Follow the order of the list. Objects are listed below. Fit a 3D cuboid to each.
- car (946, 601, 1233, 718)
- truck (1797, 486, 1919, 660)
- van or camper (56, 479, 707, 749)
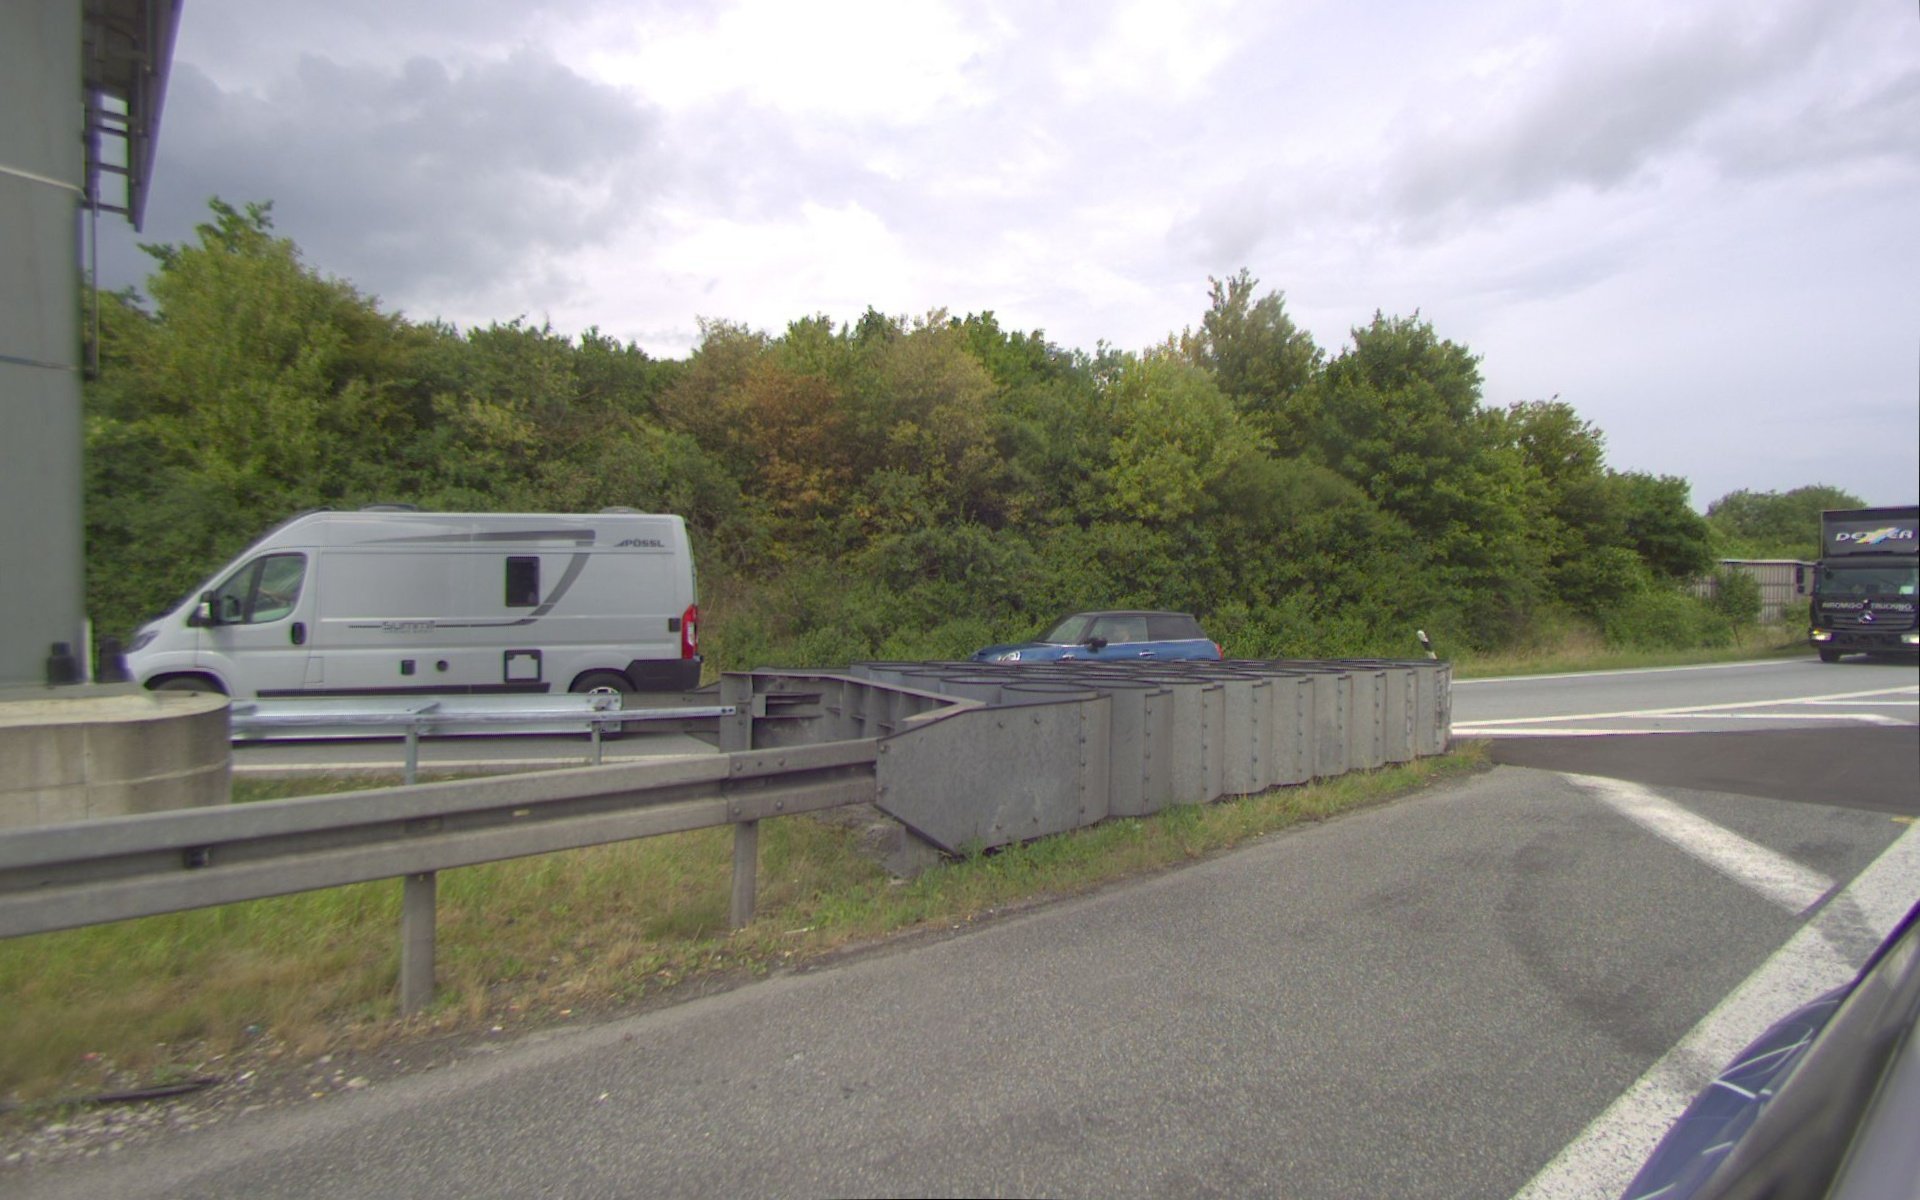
[{"bbox_3d":[1.793,0.757,14.220,3.589,1.437,1.738,-1,0,-20],"label":"car"},{"bbox_3d":[25.666,-0.644,26.917,10.149,4.004,3.025,0,0,-37],"label":"truck"},{"bbox_3d":[-6.015,0.128,11.541,6.031,2.600,2.306,0,0,-13],"label":"van or camper"}]
